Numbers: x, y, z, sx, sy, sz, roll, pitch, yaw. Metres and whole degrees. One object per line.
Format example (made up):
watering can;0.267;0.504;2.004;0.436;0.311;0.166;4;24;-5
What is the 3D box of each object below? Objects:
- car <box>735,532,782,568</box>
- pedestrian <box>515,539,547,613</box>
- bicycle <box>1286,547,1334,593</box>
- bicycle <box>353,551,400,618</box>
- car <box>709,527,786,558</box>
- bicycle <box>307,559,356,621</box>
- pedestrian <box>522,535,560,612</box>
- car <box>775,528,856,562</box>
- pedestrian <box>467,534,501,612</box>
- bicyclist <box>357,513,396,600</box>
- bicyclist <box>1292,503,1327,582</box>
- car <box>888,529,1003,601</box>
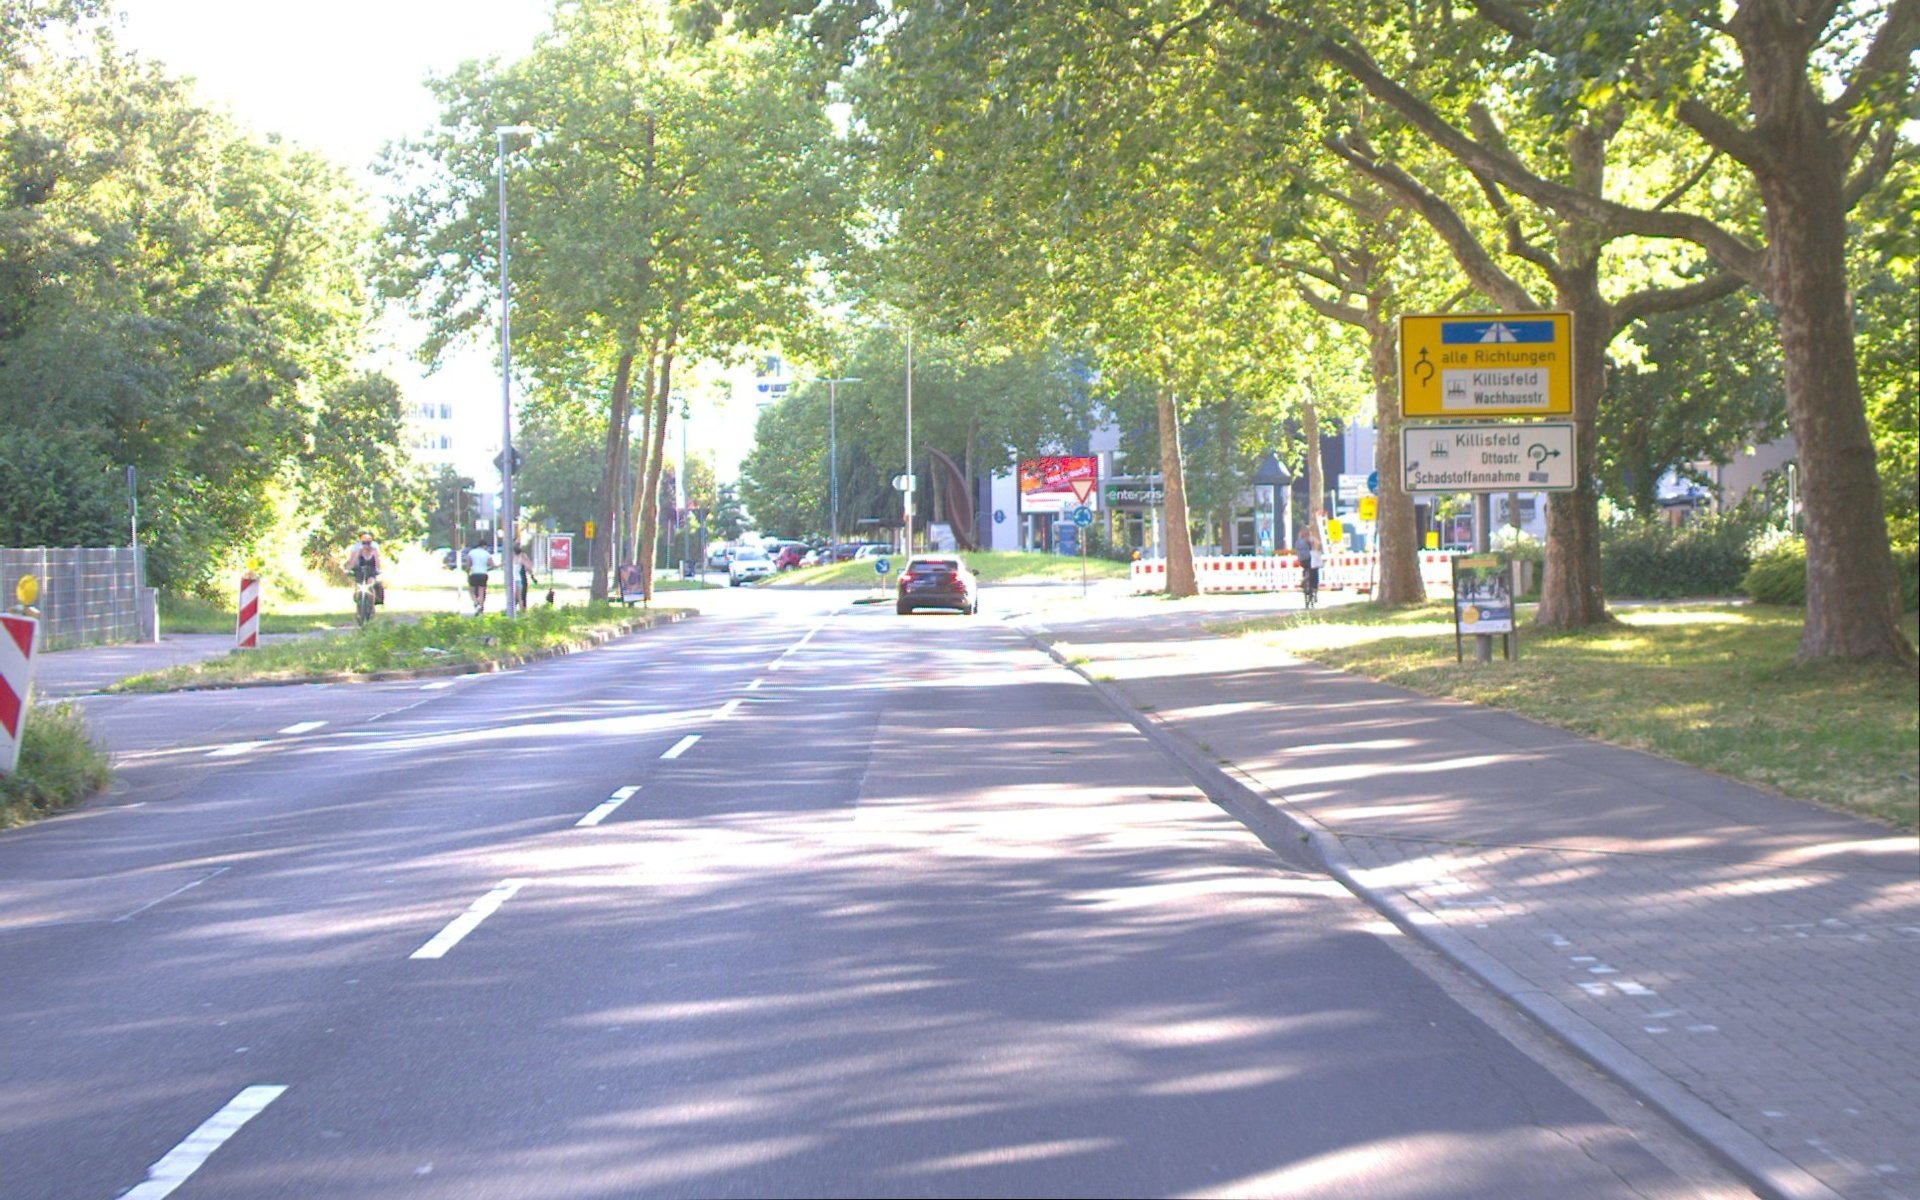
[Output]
car;-8.946;-2.229;152.700;1.993;1.573;4.001;0;1;-5
pedestrian;-9.619;-0.542;77.034;0.632;1.632;0.576;0;1;0
bicycle;7.614;-0.655;74.898;0.770;0.961;2.174;-2;0;-1
bicycle;-11.320;-0.307;66.721;0.579;1.241;2.108;-1;2;-2
car;-12.269;-3.316;198.421;3.986;1.741;1.795;0;1;-30
bicycle;-12.540;-0.208;68.647;0.579;1.182;2.032;-4;1;-1
pedestrian;-9.531;-0.602;78.180;0.748;1.733;0.852;0;1;1
car;-7.867;-2.999;187.530;3.986;1.741;1.795;0;1;-30
pedestrian;-10.665;-0.608;77.016;0.632;1.733;0.664;0;1;1
bicyclist;-11.327;-0.848;66.735;0.579;1.674;0.971;-1;2;-2
bicyclist;7.622;-1.255;74.968;0.651;1.699;0.871;1;1;0
car;-0.322;-0.847;81.888;1.840;1.600;3.860;-1;1;14
